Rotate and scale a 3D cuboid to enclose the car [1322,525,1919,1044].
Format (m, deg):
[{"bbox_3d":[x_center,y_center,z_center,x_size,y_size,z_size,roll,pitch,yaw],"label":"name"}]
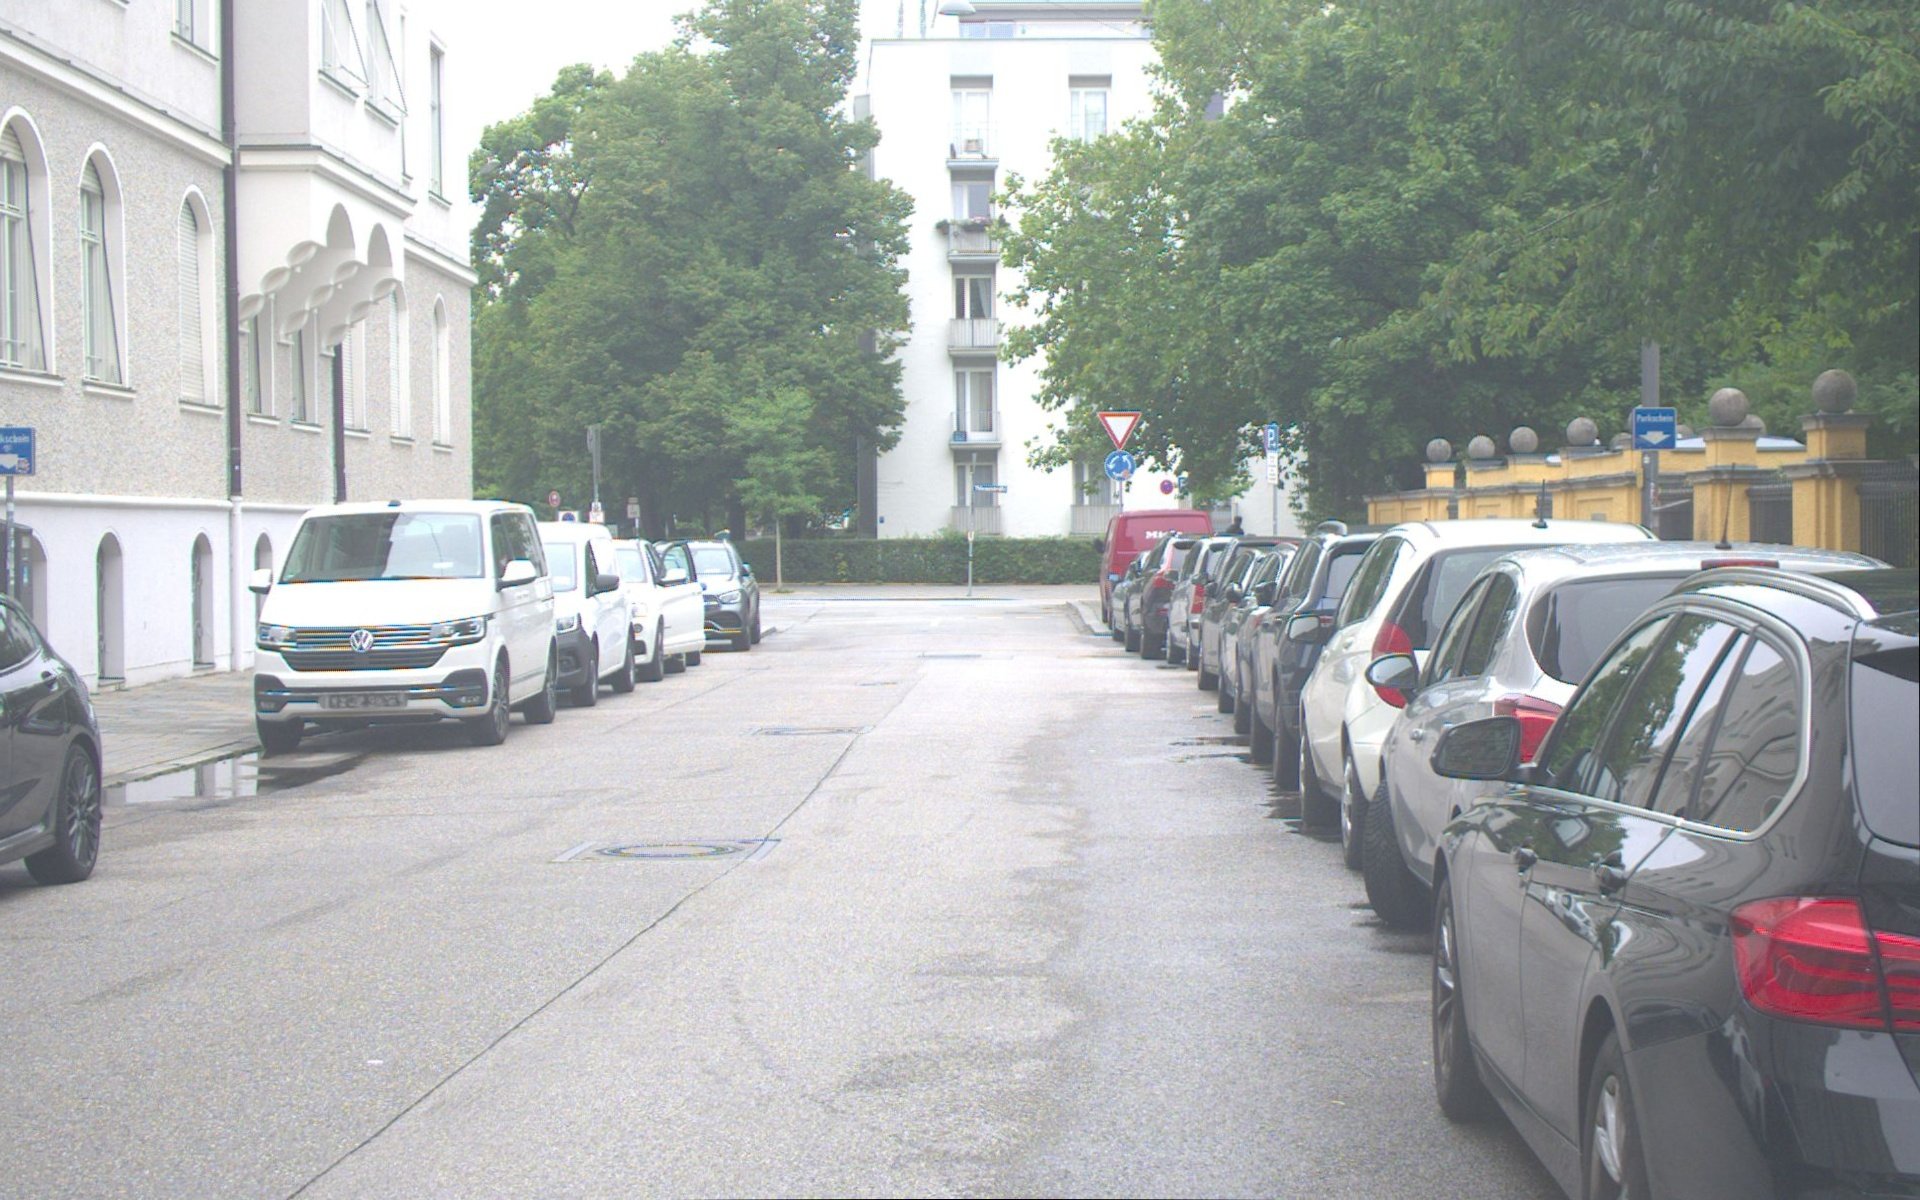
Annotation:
[{"bbox_3d":[2.301,0.524,12.052,1.652,1.513,3.795,1,1,0],"label":"car"}]

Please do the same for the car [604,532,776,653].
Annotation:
[{"bbox_3d":[-4.025,-0.148,51.944,2.015,1.628,4.414,-3,1,2],"label":"car"}]

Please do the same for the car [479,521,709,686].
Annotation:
[{"bbox_3d":[-4.213,-0.008,40.207,2.015,1.720,4.275,-3,1,2],"label":"car"}]

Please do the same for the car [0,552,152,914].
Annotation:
[{"bbox_3d":[-4.973,0.614,14.584,1.836,1.494,4.274,-3,1,3],"label":"car"}]

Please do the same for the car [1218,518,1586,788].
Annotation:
[{"bbox_3d":[2.723,0.287,22.022,1.838,1.546,3.948,1,1,0],"label":"car"}]

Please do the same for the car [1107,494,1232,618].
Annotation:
[{"bbox_3d":[3.534,-0.763,57.392,1.837,1.920,4.004,2,2,6],"label":"car"}]

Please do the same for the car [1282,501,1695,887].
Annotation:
[{"bbox_3d":[2.468,0.385,16.781,1.514,1.656,3.674,1,1,1],"label":"car"}]

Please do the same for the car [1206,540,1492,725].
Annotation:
[{"bbox_3d":[3.034,0.217,27.520,1.838,1.341,3.948,1,1,0],"label":"car"}]

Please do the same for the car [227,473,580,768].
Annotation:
[{"bbox_3d":[-4.455,0.098,28.262,1.886,2.120,4.706,-3,1,2],"label":"car"}]

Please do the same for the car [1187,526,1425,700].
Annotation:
[{"bbox_3d":[3.193,0.090,32.435,1.838,1.513,3.948,1,1,0],"label":"car"}]

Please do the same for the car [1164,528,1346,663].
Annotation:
[{"bbox_3d":[3.491,-0.073,41.288,1.838,1.513,3.948,1,1,0],"label":"car"}]

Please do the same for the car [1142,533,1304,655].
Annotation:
[{"bbox_3d":[3.429,-0.098,45.487,1.838,1.513,3.948,1,1,0],"label":"car"}]

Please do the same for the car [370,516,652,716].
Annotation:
[{"bbox_3d":[-4.402,0.099,34.403,2.015,1.765,4.414,-3,1,2],"label":"car"}]

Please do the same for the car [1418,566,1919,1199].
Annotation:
[{"bbox_3d":[2.015,0.653,7.026,1.839,1.408,4.342,1,1,4],"label":"car"}]
